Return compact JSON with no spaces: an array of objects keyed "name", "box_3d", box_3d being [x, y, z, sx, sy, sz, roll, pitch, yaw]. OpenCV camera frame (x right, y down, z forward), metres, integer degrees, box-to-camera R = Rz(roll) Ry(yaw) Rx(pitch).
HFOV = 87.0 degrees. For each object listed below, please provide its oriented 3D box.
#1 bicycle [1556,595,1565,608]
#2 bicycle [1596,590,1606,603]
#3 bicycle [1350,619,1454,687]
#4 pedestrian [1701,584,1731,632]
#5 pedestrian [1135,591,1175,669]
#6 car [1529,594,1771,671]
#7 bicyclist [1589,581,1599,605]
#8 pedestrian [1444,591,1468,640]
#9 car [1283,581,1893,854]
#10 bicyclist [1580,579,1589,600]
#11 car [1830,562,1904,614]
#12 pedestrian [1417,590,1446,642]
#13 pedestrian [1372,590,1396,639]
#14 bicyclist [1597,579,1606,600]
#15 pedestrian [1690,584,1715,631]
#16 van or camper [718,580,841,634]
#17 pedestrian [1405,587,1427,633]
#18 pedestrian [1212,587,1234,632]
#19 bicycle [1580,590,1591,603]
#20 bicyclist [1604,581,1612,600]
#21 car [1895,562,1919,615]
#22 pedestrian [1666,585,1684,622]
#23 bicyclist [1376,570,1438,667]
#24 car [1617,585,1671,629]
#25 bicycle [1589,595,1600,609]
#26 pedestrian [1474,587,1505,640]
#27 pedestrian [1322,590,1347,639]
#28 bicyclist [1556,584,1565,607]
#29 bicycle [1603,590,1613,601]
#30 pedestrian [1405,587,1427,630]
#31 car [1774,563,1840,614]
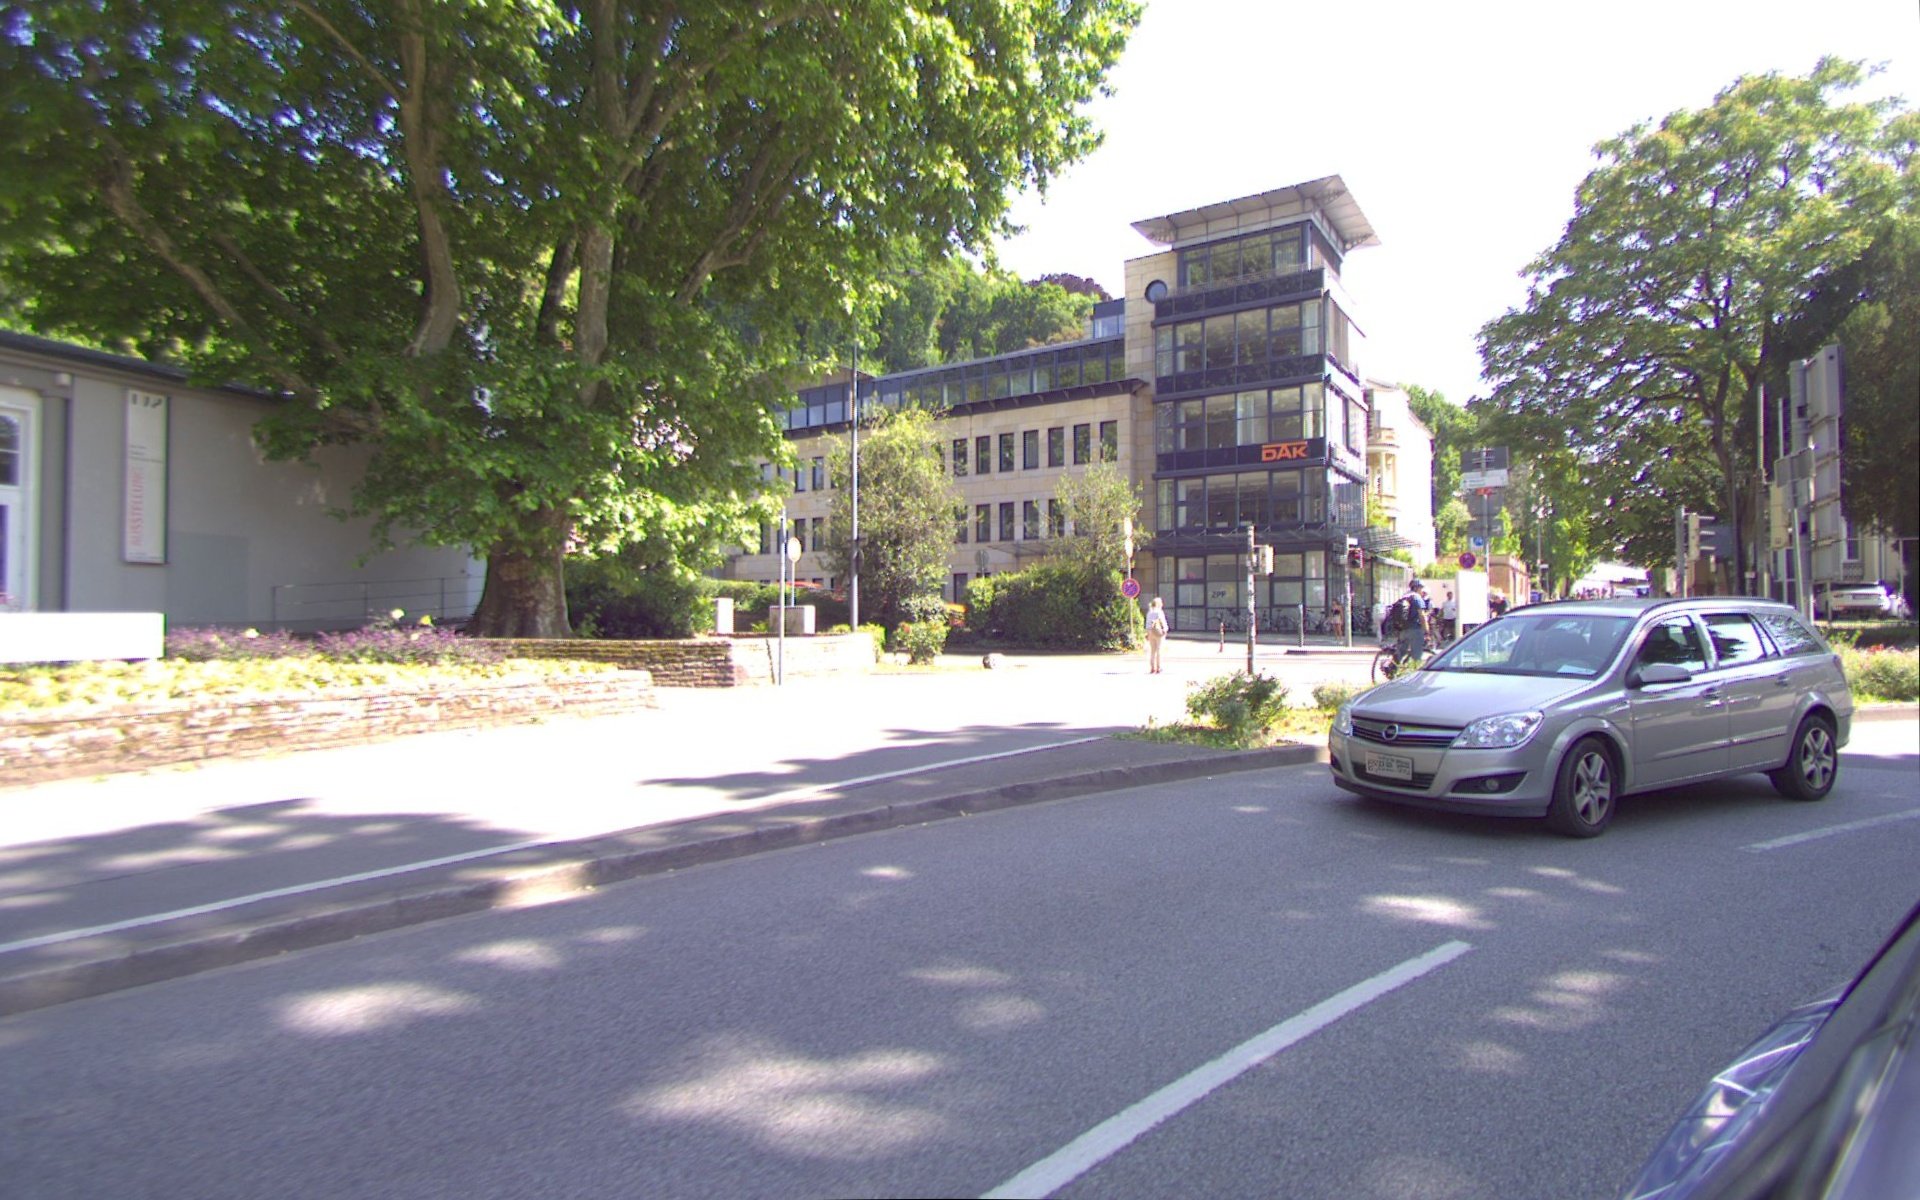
[{"name":"bicycle","box_3d":[51.742,0.124,87.235,0.563,1.176,1.876,-1,-1,34]},{"name":"bicycle","box_3d":[61.685,-0.324,97.393,0.564,1.176,1.871,-1,-1,41]},{"name":"bicycle","box_3d":[7.602,0.880,17.359,2.168,1.068,0.710,0,-1,-39]},{"name":"pedestrian","box_3d":[27.613,0.296,36.974,0.594,1.727,0.601,-1,-1,7]},{"name":"pedestrian","box_3d":[4.333,0.666,22.492,0.705,1.694,0.529,-1,-1,31]},{"name":"car","box_3d":[14.135,0.654,21.027,3.917,1.470,1.794,-1,-1,28]},{"name":"bicyclist","box_3d":[56.164,-0.623,89.612,0.571,2.039,1.034,-1,-1,40]},{"name":"pedestrian","box_3d":[17.750,0.540,36.208,0.599,1.727,0.596,-2,-2,39]},{"name":"car","box_3d":[4.651,0.676,7.431,4.315,1.542,1.715,0,-1,-25]},{"name":"bicyclist","box_3d":[60.770,-1.052,98.429,0.571,2.039,0.894,-1,-1,40]},{"name":"car","box_3d":[37.368,-0.457,41.763,1.840,2.039,3.947,-1,-1,36]},{"name":"pedestrian","box_3d":[15.849,0.530,34.023,0.634,1.727,0.653,0,-2,-39]},{"name":"pedestrian","box_3d":[15.032,0.517,35.871,0.601,1.727,0.680,-2,-2,40]},{"name":"bicyclist","box_3d":[61.827,-1.027,97.537,0.571,2.039,0.894,-1,-1,40]},{"name":"pedestrian","box_3d":[27.743,0.286,37.802,0.598,1.727,0.531,-1,-1,24]},{"name":"van or camper","box_3d":[-7.743,0.318,43.362,4.735,2.196,2.402,-1,-1,28]},{"name":"pedestrian","box_3d":[17.483,0.394,38.818,0.599,1.727,0.596,-2,-2,39]},{"name":"pedestrian","box_3d":[10.324,0.383,39.710,0.600,1.727,0.681,-2,-1,35]},{"name":"bicycle","box_3d":[60.842,-0.329,98.430,0.564,1.176,1.871,-1,-1,41]},{"name":"bicyclist","box_3d":[68.594,-1.018,107.099,0.571,2.039,0.882,-1,-1,40]},{"name":"car","box_3d":[39.010,-0.455,40.519,1.840,2.039,3.947,-1,-1,36]},{"name":"pedestrian","box_3d":[33.166,0.171,46.941,0.598,1.727,0.597,-2,-1,34]},{"name":"bicyclist","box_3d":[7.719,0.317,17.481,0.719,1.633,0.710,0,-1,-39]},{"name":"car","box_3d":[30.919,0.284,45.831,1.839,1.809,3.954,3,2,33]},{"name":"bicycle","box_3d":[56.197,0.165,89.628,0.564,1.176,1.871,-1,-1,41]},{"name":"pedestrian","box_3d":[17.343,0.435,33.167,0.592,1.727,0.700,0,-2,-42]},{"name":"pedestrian","box_3d":[13.280,0.525,35.884,0.684,1.727,0.596,-2,-1,30]},{"name":"bicyclist","box_3d":[51.749,-0.385,87.266,0.571,2.039,0.739,-1,-1,36]},{"name":"bicycle","box_3d":[68.620,-0.453,107.138,0.564,1.176,1.871,-1,-1,41]},{"name":"pedestrian","box_3d":[18.404,0.343,40.847,0.599,1.727,0.720,-2,-2,39]},{"name":"car","box_3d":[35.840,-0.460,42.909,1.840,2.039,3.947,-1,-1,36]}]
